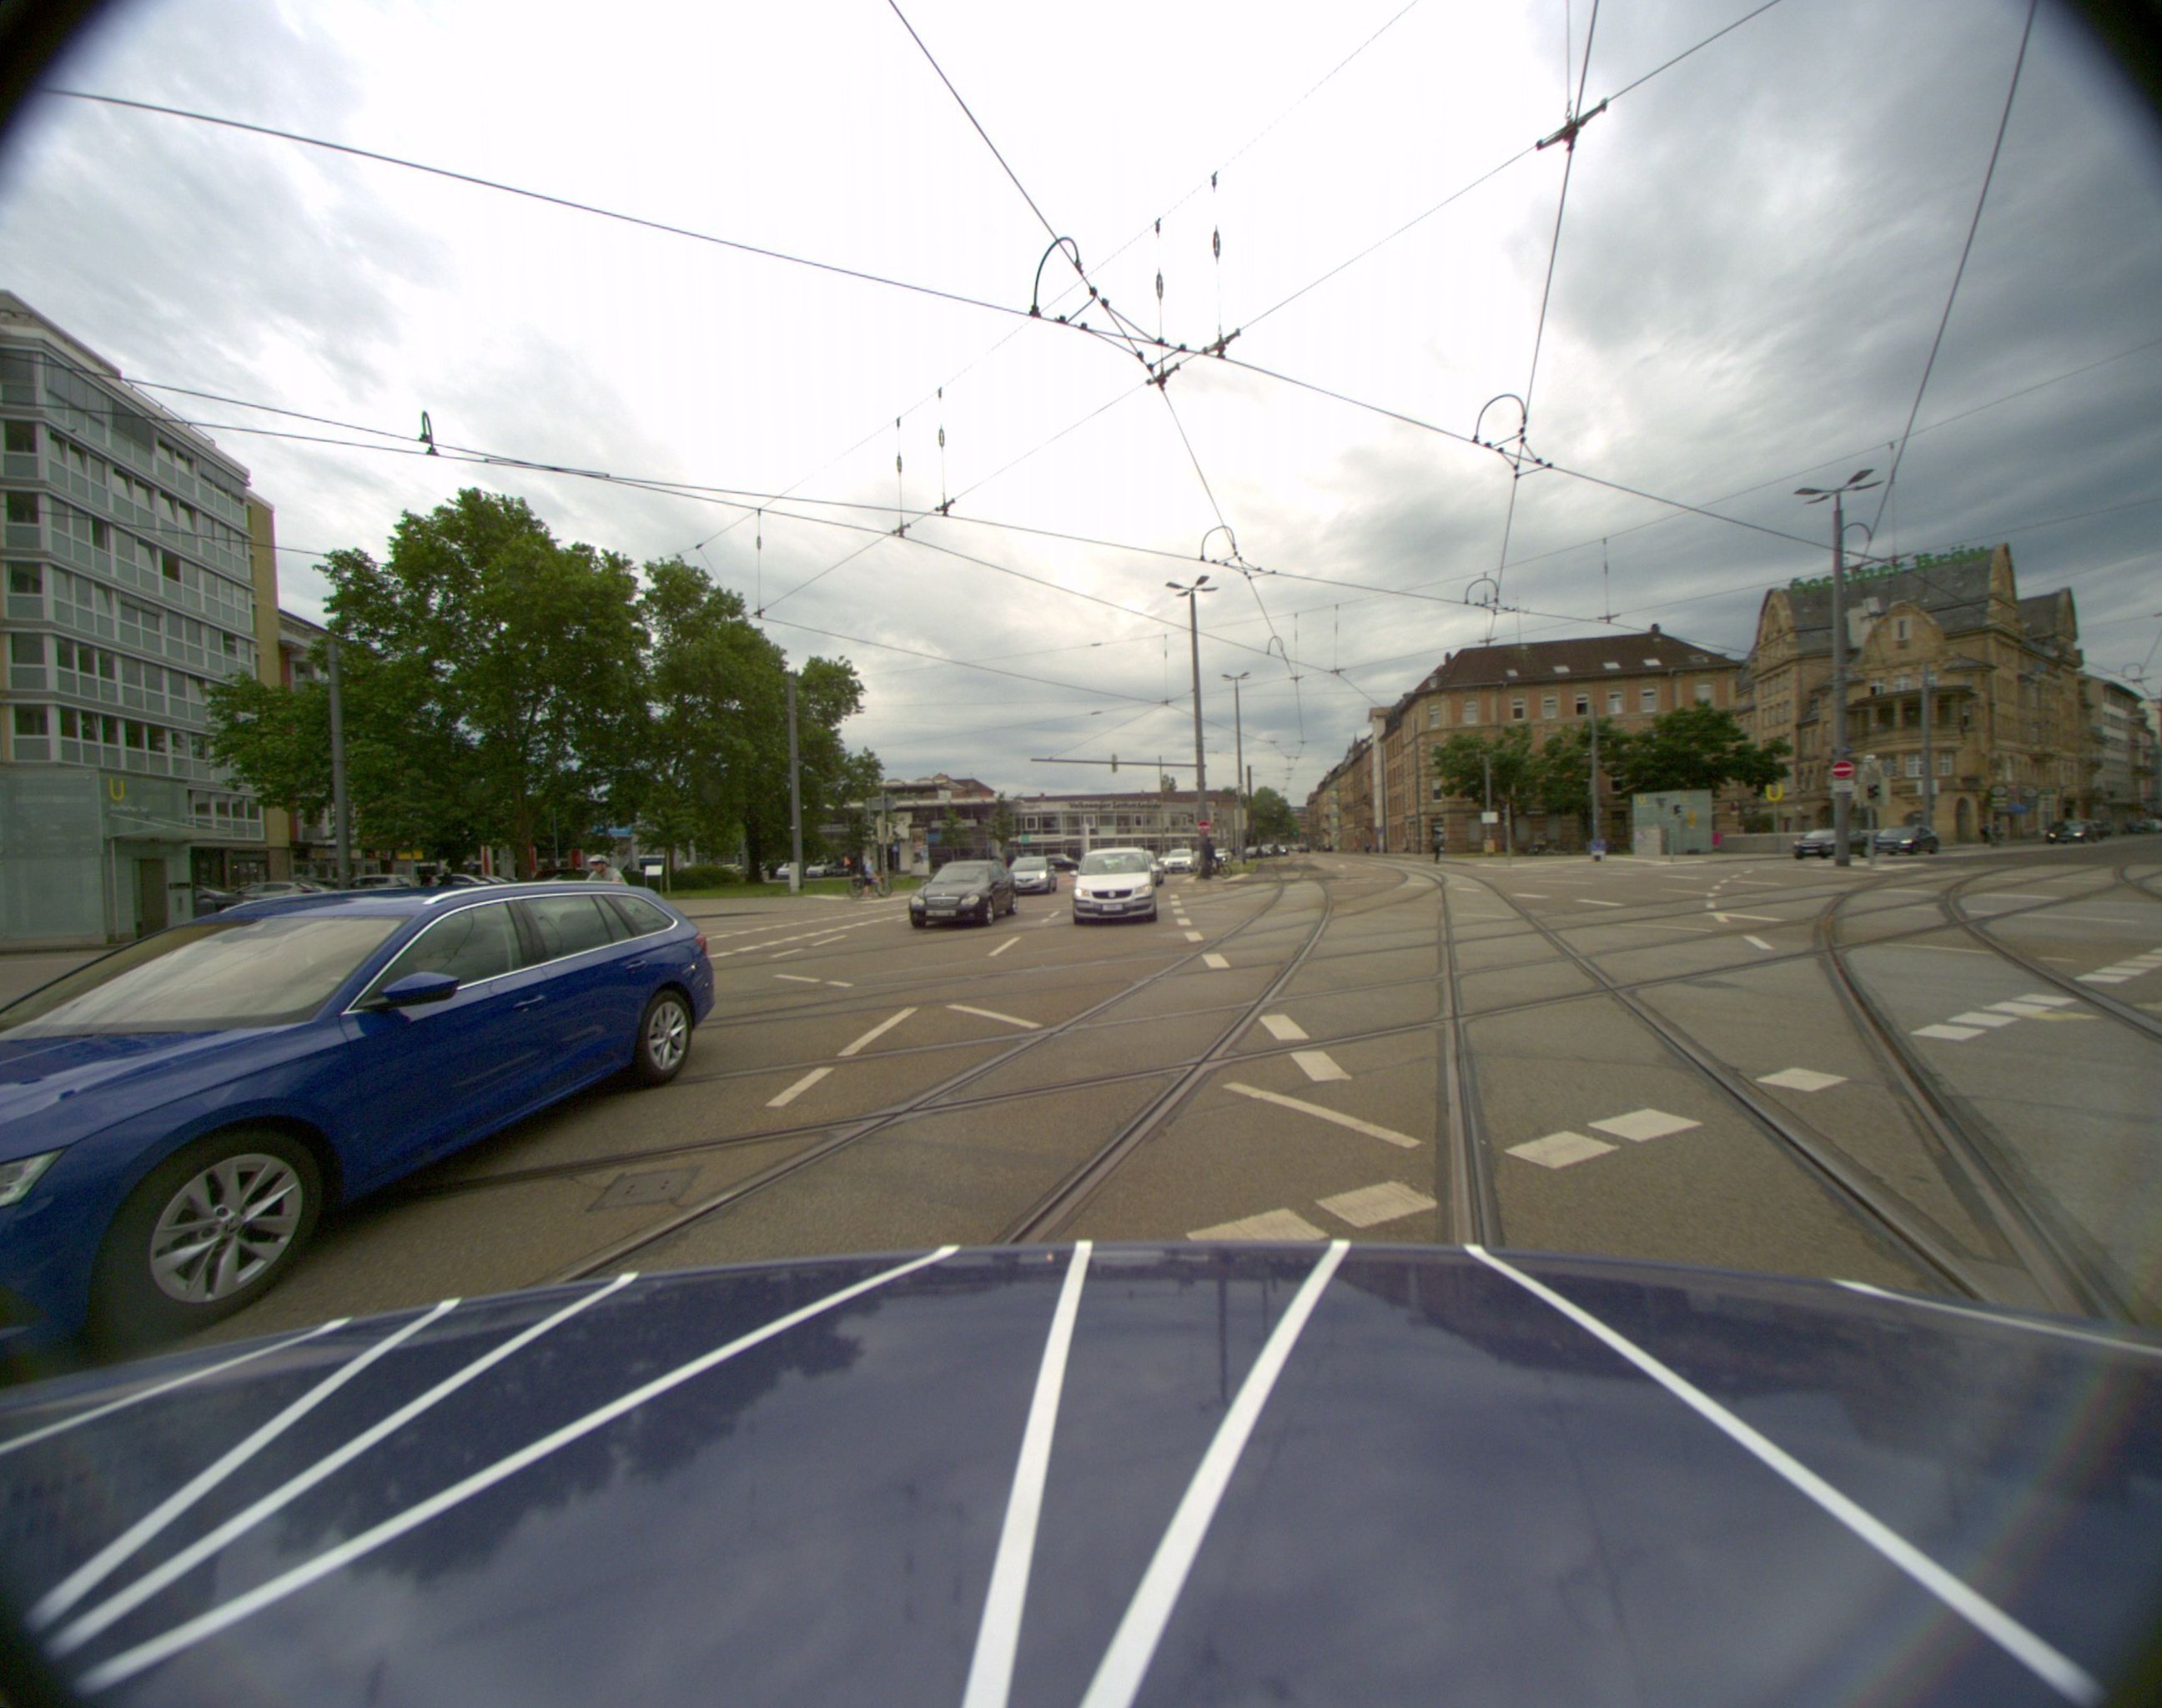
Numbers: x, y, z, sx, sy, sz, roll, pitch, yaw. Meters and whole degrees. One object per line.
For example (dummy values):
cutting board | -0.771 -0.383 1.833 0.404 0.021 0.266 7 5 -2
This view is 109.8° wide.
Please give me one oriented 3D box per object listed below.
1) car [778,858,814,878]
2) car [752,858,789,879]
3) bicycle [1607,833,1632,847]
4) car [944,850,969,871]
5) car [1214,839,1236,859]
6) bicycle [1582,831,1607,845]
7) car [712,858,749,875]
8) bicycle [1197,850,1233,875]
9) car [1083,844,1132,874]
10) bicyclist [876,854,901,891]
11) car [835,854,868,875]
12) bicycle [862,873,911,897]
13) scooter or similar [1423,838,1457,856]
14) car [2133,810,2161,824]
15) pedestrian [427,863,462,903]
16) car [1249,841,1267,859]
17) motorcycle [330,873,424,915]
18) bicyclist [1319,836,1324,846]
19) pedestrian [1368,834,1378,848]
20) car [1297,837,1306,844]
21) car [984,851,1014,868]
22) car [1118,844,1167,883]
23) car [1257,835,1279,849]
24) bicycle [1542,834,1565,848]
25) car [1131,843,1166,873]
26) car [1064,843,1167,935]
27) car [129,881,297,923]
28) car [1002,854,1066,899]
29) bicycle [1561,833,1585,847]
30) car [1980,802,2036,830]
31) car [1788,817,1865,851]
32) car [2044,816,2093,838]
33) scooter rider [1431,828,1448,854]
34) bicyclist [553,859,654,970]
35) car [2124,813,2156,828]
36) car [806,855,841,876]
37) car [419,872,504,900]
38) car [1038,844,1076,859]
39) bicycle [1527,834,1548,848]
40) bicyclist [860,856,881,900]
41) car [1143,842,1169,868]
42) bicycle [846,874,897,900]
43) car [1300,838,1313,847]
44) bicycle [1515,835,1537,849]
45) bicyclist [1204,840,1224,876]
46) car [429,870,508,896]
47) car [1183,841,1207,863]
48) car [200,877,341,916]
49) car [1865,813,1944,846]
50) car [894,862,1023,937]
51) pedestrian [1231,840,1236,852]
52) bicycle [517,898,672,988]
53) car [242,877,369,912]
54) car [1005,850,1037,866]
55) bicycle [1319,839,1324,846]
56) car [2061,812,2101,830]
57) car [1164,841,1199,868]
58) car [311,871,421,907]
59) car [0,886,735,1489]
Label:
car | -29.854 1.418 79.614 1.955 1.459 4.226 -2 6 2
car | -32.573 1.512 79.871 1.955 1.505 4.225 -2 7 2
bicycle | 41.165 -1.061 58.142 0.753 1.024 2.399 -1 1 14
car | -12.976 0.628 79.339 1.956 1.635 4.668 -3 5 -3
car | 15.625 -0.565 82.362 1.996 2.002 4.003 -2 1 15
bicycle | 39.675 -1.257 58.729 0.753 1.024 2.398 -2 1 14
car | -37.355 1.338 81.082 3.120 1.505 1.440 -3 5 2
bicycle | 6.165 0.372 34.995 1.616 1.064 0.527 -3 2 -25
car | 1.581 0.262 43.594 1.980 1.550 4.148 -2 1 13
bicyclist | -8.304 0.800 32.823 0.886 1.513 0.671 -3 2 -6
car | -24.148 1.084 79.929 1.955 1.450 4.224 -2 8 2
bicycle | -8.327 1.325 32.633 1.946 0.992 0.601 1 1 -6
scooter or similar | 23.669 -0.464 50.140 1.901 1.158 0.575 -1 2 42
car | 120.979 -4.211 86.067 4.008 1.457 1.828 -3 1 -32
pedestrian | -29.753 1.354 35.520 0.866 1.808 0.897 -2 1 -10
car | 21.669 -0.470 92.796 1.996 2.002 4.003 -2 1 15
motorcycle | -25.937 1.452 28.062 2.296 1.358 1.044 -2 1 -26
bicyclist | 45.281 -2.368 143.074 0.823 1.856 0.925 -2 1 14
pedestrian | 37.833 -1.667 98.550 0.920 1.822 0.719 -2 1 -21
car | 53.796 -3.316 185.232 1.813 1.423 4.020 -2 1 12
car | -8.630 0.570 79.311 1.959 1.517 4.220 -3 3 -22
car | 2.615 0.358 31.524 1.808 1.398 3.984 -2 1 8
car | 24.489 -1.605 99.436 2.369 1.745 5.135 -2 1 17
bicycle | 37.107 -1.031 59.700 0.753 1.024 2.398 -2 1 14
car | 4.917 0.240 55.100 1.997 2.002 4.003 -2 1 12
car | 0.900 0.637 16.804 1.862 1.609 5.063 -3 1 6
car | -35.757 1.944 31.445 4.170 1.434 1.838 -2 1 -19
car | -1.782 0.825 30.112 1.708 1.475 3.935 -4 1 8
bicycle | 38.178 -1.114 58.982 0.753 1.024 2.398 -2 1 14
car | 65.019 -2.670 53.300 4.007 1.750 1.828 -3 2 -30
car | 39.854 -1.079 40.622 4.251 1.602 1.995 -3 1 -32
car | 74.137 -2.033 57.036 4.008 1.457 1.828 -3 1 -32
scooter rider | 23.637 -0.854 50.132 0.820 1.618 0.570 -1 2 42
bicyclist | -7.392 0.913 11.813 0.790 1.609 0.934 -4 1 10
car | 116.191 -3.689 83.356 4.008 1.457 1.828 -3 1 -32
car | -26.988 1.197 79.712 1.955 1.590 4.225 -2 7 2
car | -41.422 2.081 50.924 4.005 1.604 1.996 -2 1 -26
car | -2.576 -0.254 81.854 3.903 1.433 1.733 -3 1 4
bicycle | 36.024 -1.019 59.943 0.753 1.024 2.398 -2 1 14
bicyclist | -8.637 0.966 31.201 0.735 1.741 0.585 -2 1 -13
car | 6.209 0.055 62.758 1.998 2.002 4.001 -2 1 6
bicycle | -8.594 1.355 31.212 1.993 0.992 0.579 -1 1 -13
car | 40.026 -2.045 134.796 1.886 1.462 4.467 -2 1 12
bicycle | 35.240 -0.950 60.155 0.836 1.024 2.398 -2 1 14
bicyclist | 6.118 0.178 34.961 0.656 1.630 0.517 -3 2 -25
car | -44.165 2.072 54.907 4.005 1.604 1.996 -2 1 -26
car | 10.984 -0.206 73.298 1.997 2.002 4.003 -2 1 12
car | -38.063 1.970 35.847 4.004 1.456 1.996 -3 1 -25
car | 46.726 -1.376 43.094 4.932 1.704 2.158 -2 1 -32
car | -2.676 0.961 17.665 1.769 1.362 4.423 -1 1 7
pedestrian | 21.611 -1.095 107.454 0.662 1.671 0.651 -2 1 13
bicycle | -7.392 1.319 11.691 0.762 1.072 2.017 -4 1 10
car | -38.954 1.989 38.301 4.005 1.434 1.995 -2 1 -27
car | -6.354 0.458 80.252 1.794 1.552 4.025 -3 1 -30
bicycle | 45.302 -2.084 143.092 0.798 1.285 2.413 -2 1 14
car | 90.480 -2.997 68.744 4.008 1.457 1.828 -3 1 -32
car | 6.235 -0.012 46.594 1.971 1.447 4.195 -2 1 9
car | -40.059 1.909 42.698 4.005 1.713 1.996 -2 1 -26
car | -3.838 1.057 3.823 1.769 1.428 4.757 -2 1 3
